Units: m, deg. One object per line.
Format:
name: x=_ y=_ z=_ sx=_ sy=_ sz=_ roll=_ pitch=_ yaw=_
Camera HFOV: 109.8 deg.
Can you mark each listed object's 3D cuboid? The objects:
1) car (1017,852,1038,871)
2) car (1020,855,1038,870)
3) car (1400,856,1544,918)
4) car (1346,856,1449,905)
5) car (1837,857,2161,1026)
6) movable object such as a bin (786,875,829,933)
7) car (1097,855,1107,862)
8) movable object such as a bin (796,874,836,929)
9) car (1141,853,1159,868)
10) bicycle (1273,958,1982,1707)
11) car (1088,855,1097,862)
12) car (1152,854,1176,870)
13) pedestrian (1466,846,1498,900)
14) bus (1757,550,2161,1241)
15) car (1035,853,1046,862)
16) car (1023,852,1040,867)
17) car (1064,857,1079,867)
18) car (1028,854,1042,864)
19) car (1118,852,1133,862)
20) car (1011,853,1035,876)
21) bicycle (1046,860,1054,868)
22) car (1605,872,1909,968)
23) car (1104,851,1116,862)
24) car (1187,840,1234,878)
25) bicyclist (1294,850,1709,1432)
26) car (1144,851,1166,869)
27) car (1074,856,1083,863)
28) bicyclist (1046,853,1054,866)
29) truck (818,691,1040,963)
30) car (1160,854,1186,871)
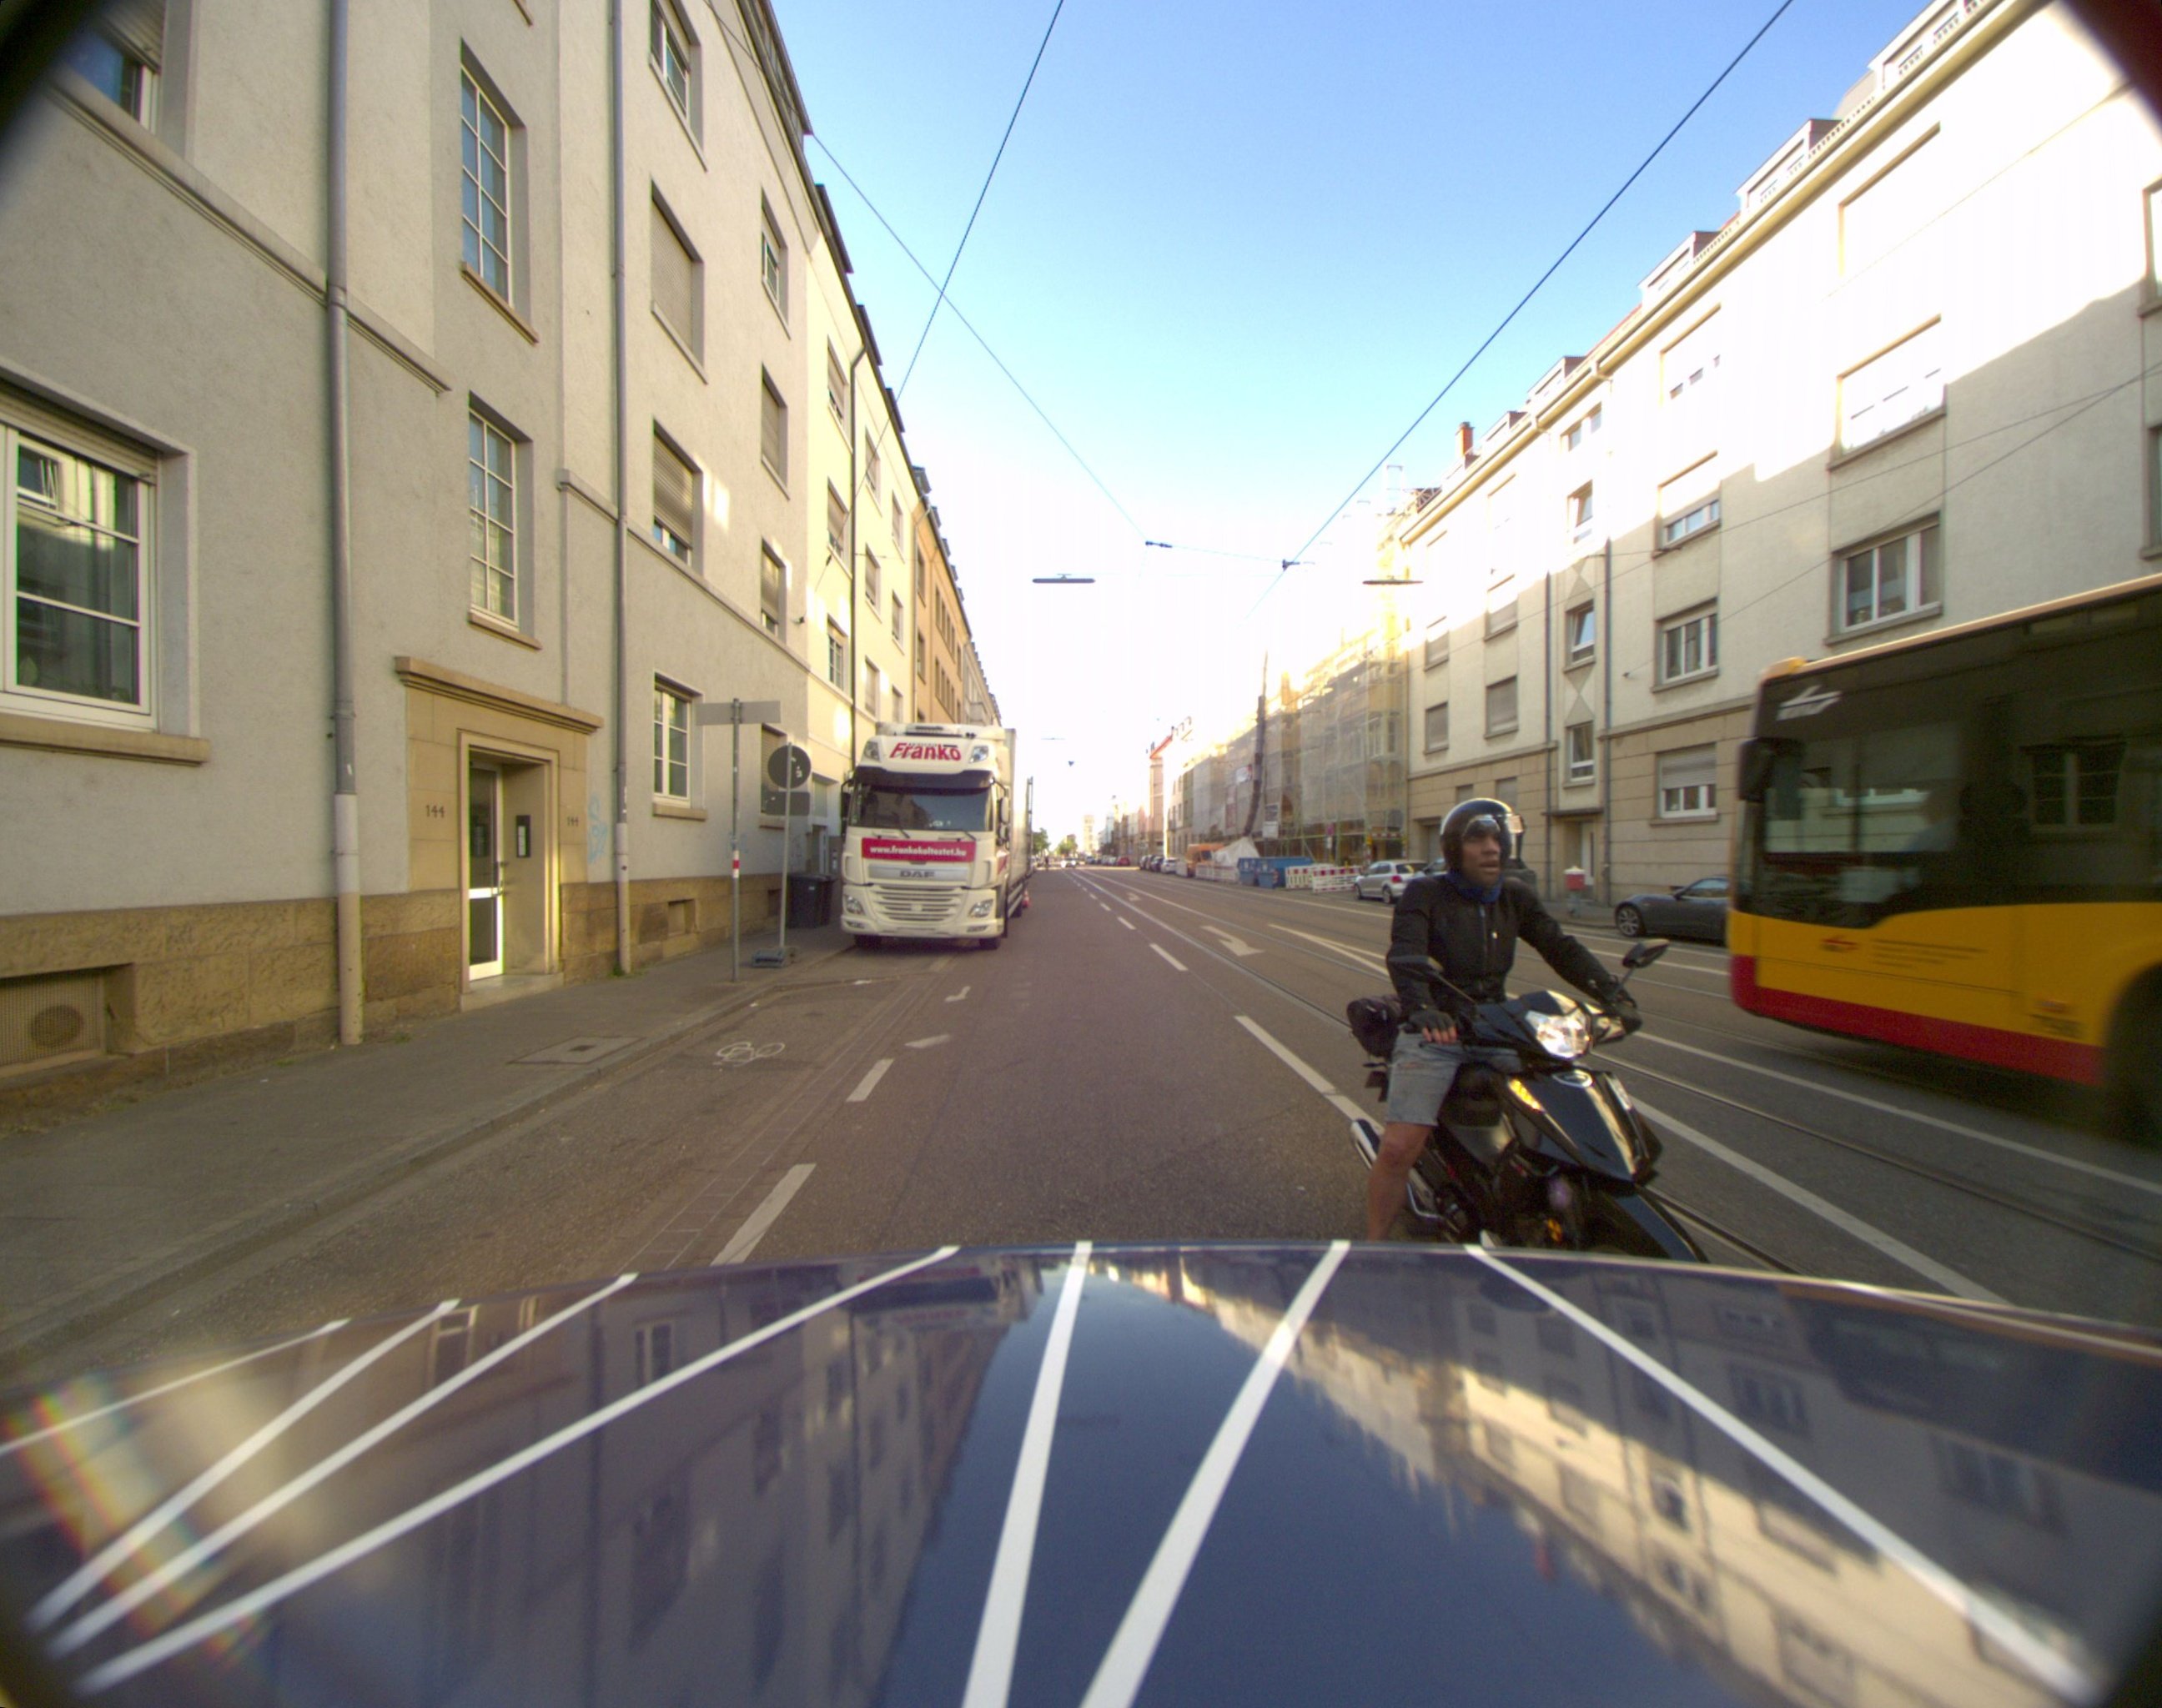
car: x=-5.018 y=0.688 z=71.607 sx=1.703 sy=1.688 sz=4.187 roll=1 pitch=0 yaw=0
car: x=-5.253 y=0.812 z=77.270 sx=1.703 sy=1.496 sz=3.862 roll=0 pitch=0 yaw=-1
car: x=10.830 y=0.834 z=21.445 sx=1.704 sy=1.558 sz=4.405 roll=0 pitch=0 yaw=-2
car: x=10.727 y=0.841 z=26.076 sx=1.704 sy=1.407 sz=3.998 roll=-3 pitch=1 yaw=-2
car: x=11.426 y=0.871 z=8.597 sx=1.704 sy=1.560 sz=3.999 roll=-2 pitch=1 yaw=-2
movable object such as a bin: x=-5.397 y=0.975 z=15.020 sx=0.660 sy=1.098 sz=0.541 roll=0 pitch=1 yaw=-5
car: x=4.555 y=0.959 z=167.651 sx=1.799 sy=1.494 sz=3.768 roll=-2 pitch=0 yaw=-3
movable object such as a bin: x=-5.432 y=0.970 z=15.611 sx=0.660 sy=1.098 sz=0.541 roll=0 pitch=1 yaw=-5
car: x=7.956 y=0.739 z=88.132 sx=1.798 sy=1.601 sz=3.769 roll=0 pitch=0 yaw=1
bicycle: x=1.272 y=1.051 z=2.399 sx=0.740 sy=1.170 sz=1.973 roll=0 pitch=0 yaw=-3
car: x=2.847 y=1.095 z=191.719 sx=1.799 sy=1.494 sz=3.768 roll=-2 pitch=0 yaw=-3
car: x=8.355 y=0.785 z=77.179 sx=1.702 sy=1.569 sz=4.221 roll=-2 pitch=0 yaw=-3
pedestrian: x=12.638 y=0.589 z=23.941 sx=0.582 sy=1.684 sz=0.716 roll=-2 pitch=1 yaw=-3
bus: x=6.428 y=0.192 z=0.378 sx=2.730 sy=3.140 sz=10.192 roll=0 pitch=0 yaw=-3
car: x=-7.614 y=0.646 z=142.948 sx=1.999 sy=1.630 sz=3.999 roll=1 pitch=0 yaw=-2
car: x=-5.317 y=0.627 z=82.388 sx=1.703 sy=1.581 sz=3.960 roll=0 pitch=0 yaw=-2
car: x=-1.220 y=1.027 z=98.528 sx=1.859 sy=1.369 sz=4.000 roll=0 pitch=0 yaw=1
car: x=-6.804 y=0.709 z=112.972 sx=1.999 sy=1.412 sz=3.726 roll=1 pitch=0 yaw=-2
car: x=6.976 y=0.408 z=118.748 sx=1.799 sy=1.494 sz=3.768 roll=-2 pitch=0 yaw=-3
car: x=-4.515 y=0.801 z=59.427 sx=1.713 sy=1.683 sz=4.588 roll=1 pitch=0 yaw=-3
bicycle: x=-3.406 y=1.073 z=83.222 sx=0.744 sy=0.850 sz=1.886 roll=0 pitch=0 yaw=1
car: x=11.218 y=1.005 z=13.019 sx=1.704 sy=1.209 sz=3.784 roll=-2 pitch=1 yaw=-3
car: x=5.609 y=0.446 z=149.164 sx=1.999 sy=2.002 sz=3.999 roll=1 pitch=0 yaw=-3
car: x=9.002 y=0.321 z=53.328 sx=2.125 sy=2.454 sz=5.999 roll=1 pitch=0 yaw=-2
bicyclist: x=1.244 y=0.761 z=2.453 sx=0.844 sy=1.545 sz=0.849 roll=0 pitch=1 yaw=-3
car: x=8.127 y=0.622 z=83.263 sx=1.799 sy=1.836 sz=3.768 roll=-2 pitch=0 yaw=-3
car: x=-0.596 y=1.319 z=174.271 sx=1.826 sy=1.559 sz=4.199 roll=-2 pitch=0 yaw=-4
bicyclist: x=-3.394 y=0.584 z=83.333 sx=0.744 sy=1.481 sz=0.816 roll=0 pitch=1 yaw=1
truck: x=-2.576 y=-0.399 z=17.224 sx=2.867 sy=4.049 sz=11.776 roll=0 pitch=0 yaw=-1
car: x=8.575 y=0.788 z=71.120 sx=1.751 sy=1.502 sz=3.999 roll=1 pitch=0 yaw=-2
